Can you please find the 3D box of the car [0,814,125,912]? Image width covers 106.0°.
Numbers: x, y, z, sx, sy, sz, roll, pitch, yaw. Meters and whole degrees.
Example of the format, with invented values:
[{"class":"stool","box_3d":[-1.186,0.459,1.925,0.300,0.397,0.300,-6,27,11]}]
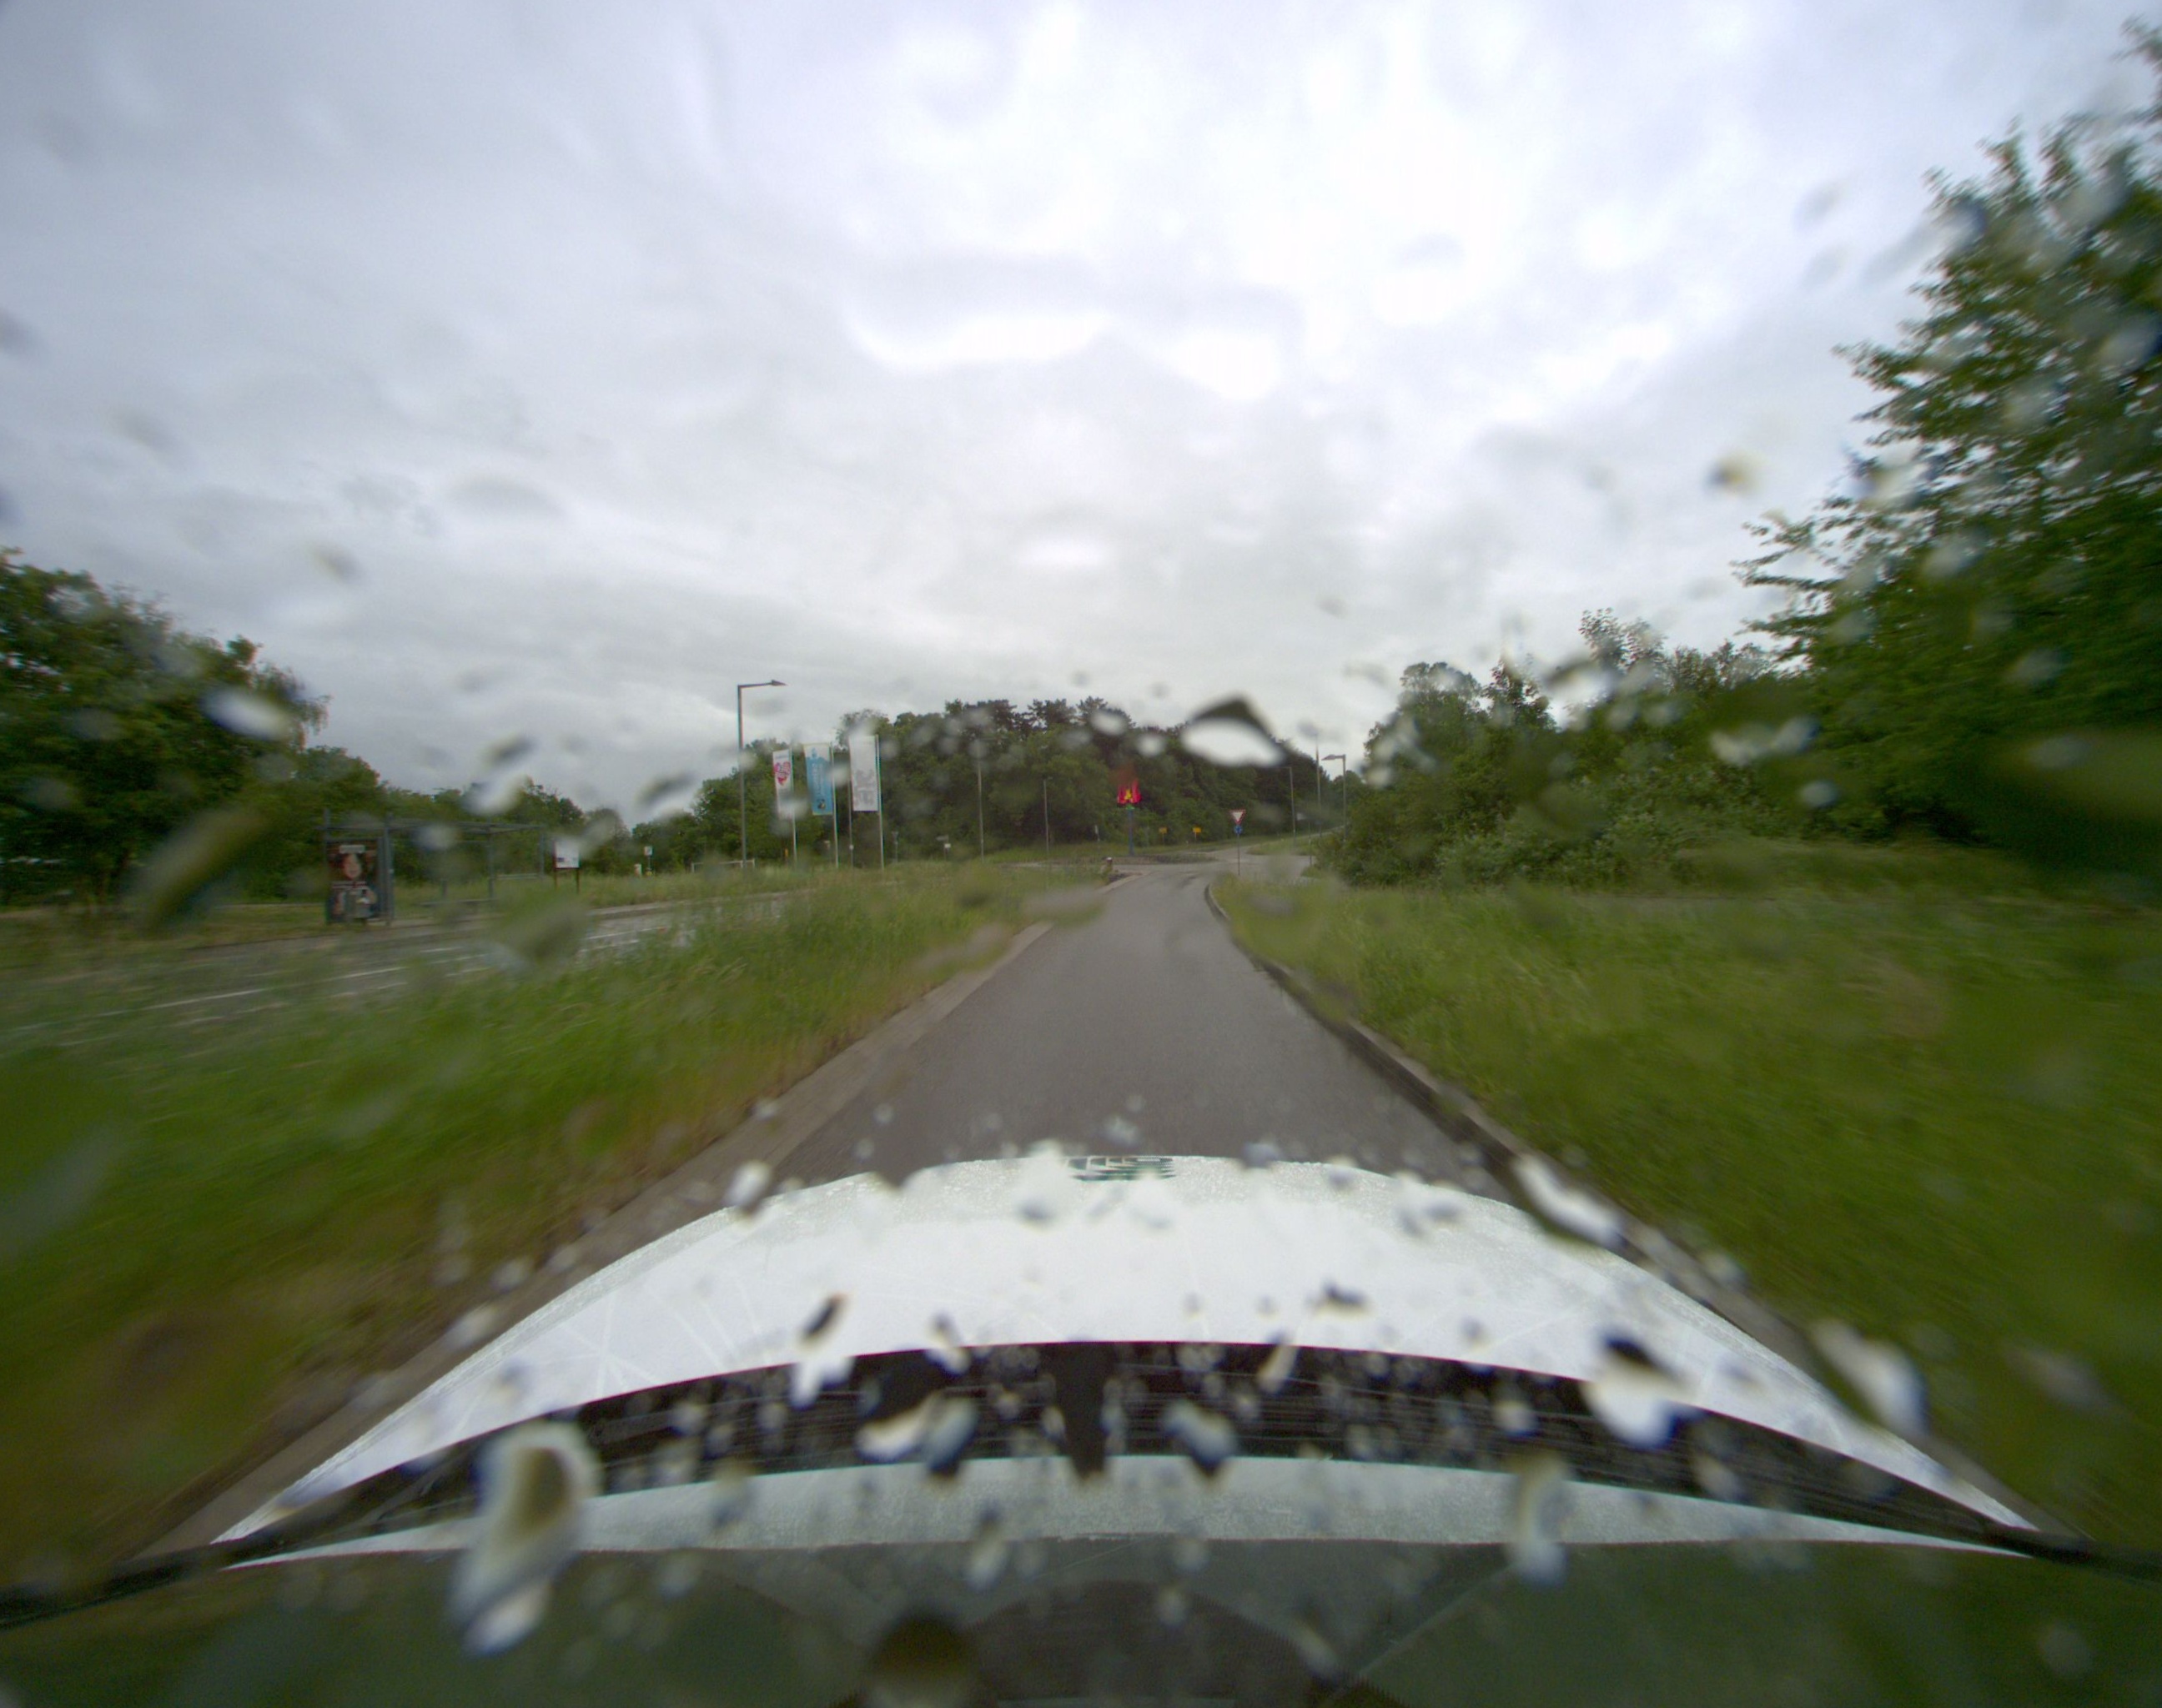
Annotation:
[{"class":"car","box_3d":[-29.060,0.286,20.539,6.552,2.398,2.132,-1,-2,-9]}]
